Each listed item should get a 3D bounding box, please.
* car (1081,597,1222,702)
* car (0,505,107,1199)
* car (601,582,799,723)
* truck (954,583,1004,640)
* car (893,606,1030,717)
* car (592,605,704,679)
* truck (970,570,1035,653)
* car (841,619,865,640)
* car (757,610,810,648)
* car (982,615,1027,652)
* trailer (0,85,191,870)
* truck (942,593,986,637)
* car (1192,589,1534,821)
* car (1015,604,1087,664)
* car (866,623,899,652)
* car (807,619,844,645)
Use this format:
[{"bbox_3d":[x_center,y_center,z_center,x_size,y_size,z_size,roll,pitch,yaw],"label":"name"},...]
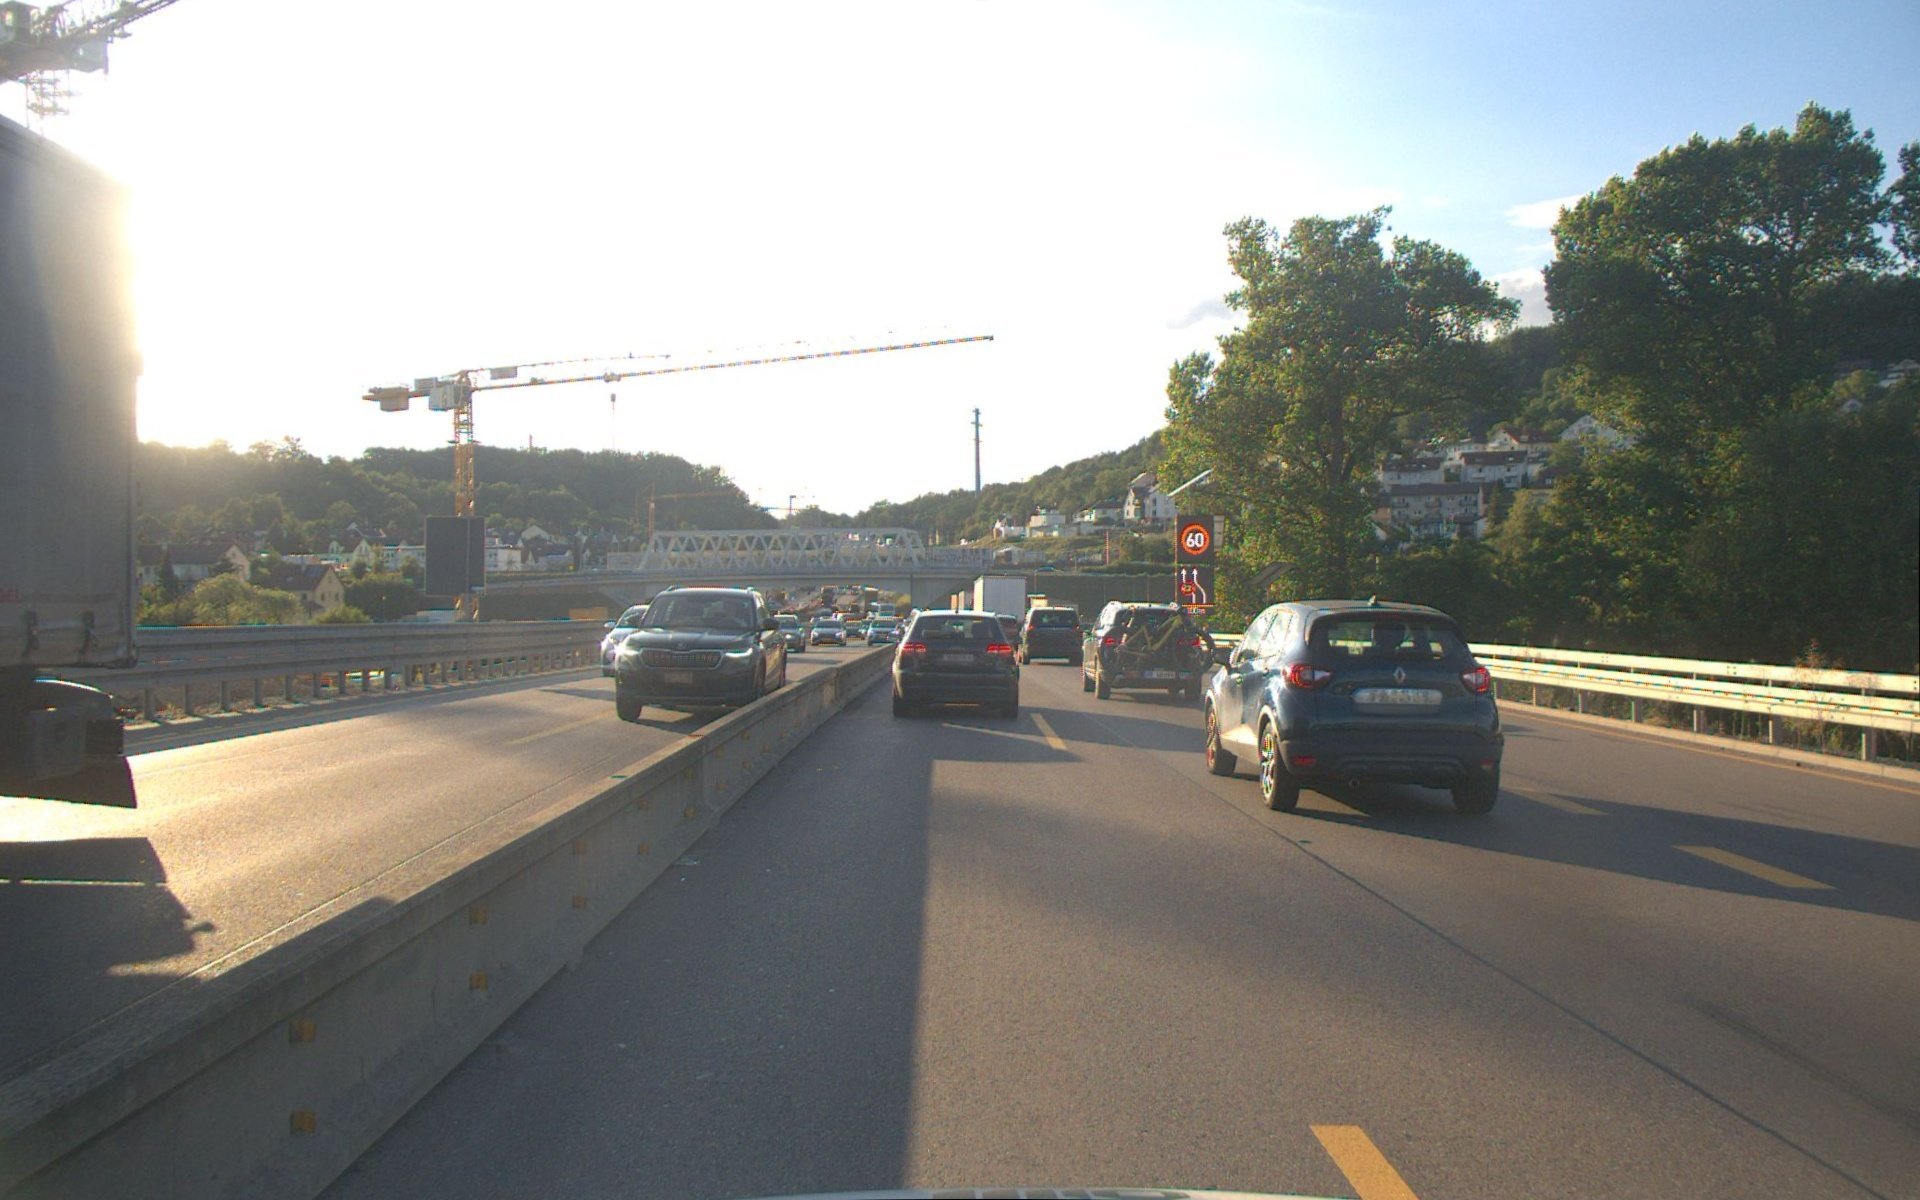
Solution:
[{"bbox_3d":[3.161,0.806,28.159,1.837,1.627,4.965,0,-1,0],"label":"car"},{"bbox_3d":[-3.191,0.596,2.007,1.953,1.647,4.604,0,0,-1],"label":"car"},{"bbox_3d":[-3.361,0.645,22.245,1.953,1.673,4.511,1,0,-1],"label":"car"},{"bbox_3d":[1.511,0.930,142.629,3.811,4.577,15.263,1,0,-1],"label":"truck"},{"bbox_3d":[-0.057,0.818,23.410,1.734,1.414,3.998,1,-1,-3],"label":"car"},{"bbox_3d":[-6.584,0.850,35.268,1.666,1.471,3.999,0,0,-1],"label":"car"},{"bbox_3d":[2.450,0.486,100.982,3.316,4.576,15.266,1,1,-1],"label":"truck"},{"bbox_3d":[-8.406,2.291,130.141,1.676,1.579,3.999,-1,0,-1],"label":"car"},{"bbox_3d":[-7.015,1.137,66.146,1.642,1.447,4.578,1,0,0],"label":"car"},{"bbox_3d":[1.992,1.500,74.675,1.734,1.580,3.998,2,-1,-3],"label":"car"},{"bbox_3d":[-6.416,-0.661,3.808,2.756,4.121,14.020,0,0,0],"label":"trailer"},{"bbox_3d":[0.315,1.538,182.805,3.814,4.577,13.836,1,0,-4],"label":"truck"},{"bbox_3d":[3.146,0.751,13.768,1.738,1.614,4.133,1,0,-1],"label":"car"},{"bbox_3d":[2.648,0.997,48.962,1.778,1.661,4.409,1,-1,-2],"label":"car"},{"bbox_3d":[-4.372,2.081,93.254,1.768,1.538,3.999,0,0,-2],"label":"car"},{"bbox_3d":[-7.355,1.773,90.859,1.738,1.407,4.530,0,-1,-1],"label":"car"}]
